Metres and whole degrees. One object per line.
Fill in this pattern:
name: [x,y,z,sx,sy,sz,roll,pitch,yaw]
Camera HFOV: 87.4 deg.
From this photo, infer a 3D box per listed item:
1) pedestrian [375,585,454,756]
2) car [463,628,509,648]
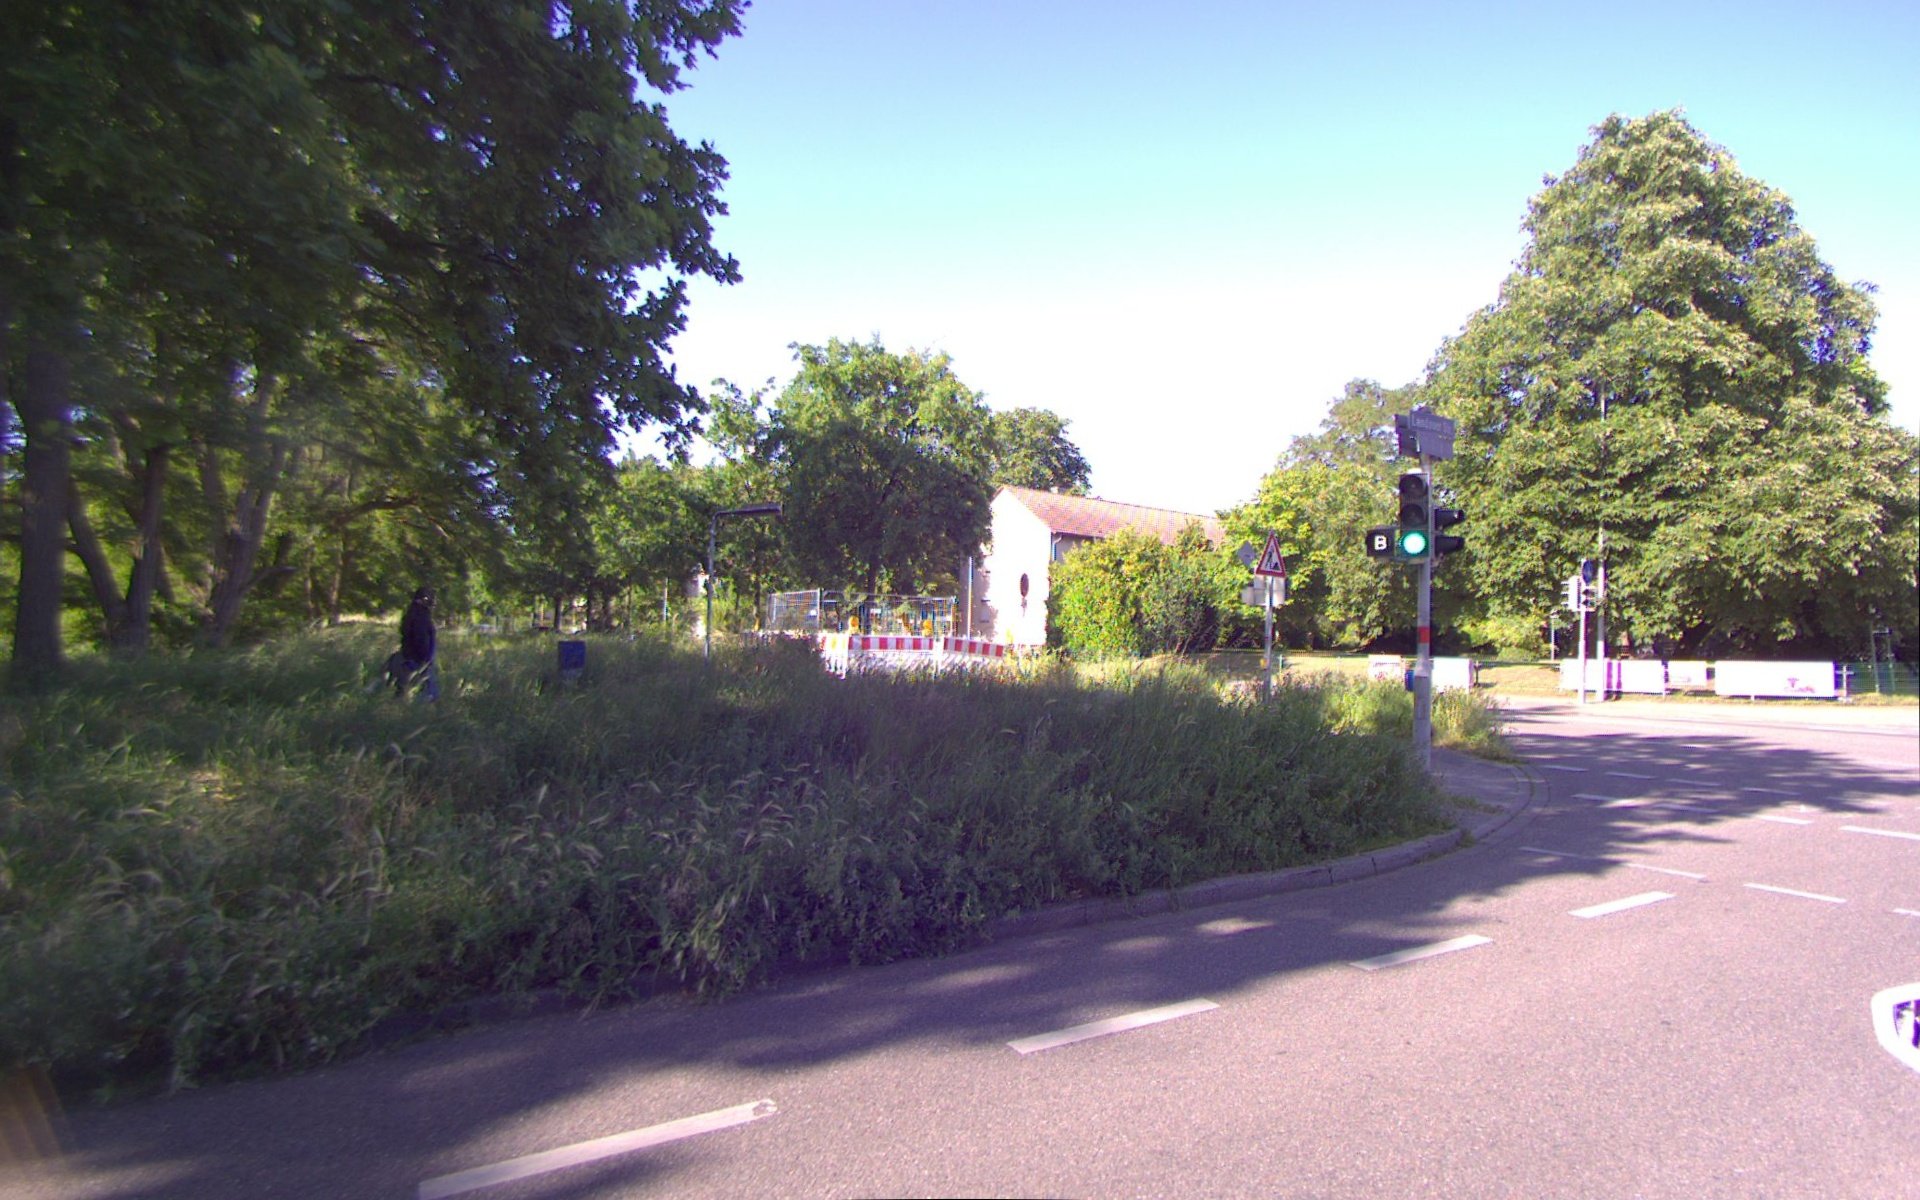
pedestrian: [-5.543,0.686,10.207,0.640,1.655,0.794,2,0,-30]
car: [-48.298,3.843,102.296,3.959,1.951,1.981,2,0,-34]
